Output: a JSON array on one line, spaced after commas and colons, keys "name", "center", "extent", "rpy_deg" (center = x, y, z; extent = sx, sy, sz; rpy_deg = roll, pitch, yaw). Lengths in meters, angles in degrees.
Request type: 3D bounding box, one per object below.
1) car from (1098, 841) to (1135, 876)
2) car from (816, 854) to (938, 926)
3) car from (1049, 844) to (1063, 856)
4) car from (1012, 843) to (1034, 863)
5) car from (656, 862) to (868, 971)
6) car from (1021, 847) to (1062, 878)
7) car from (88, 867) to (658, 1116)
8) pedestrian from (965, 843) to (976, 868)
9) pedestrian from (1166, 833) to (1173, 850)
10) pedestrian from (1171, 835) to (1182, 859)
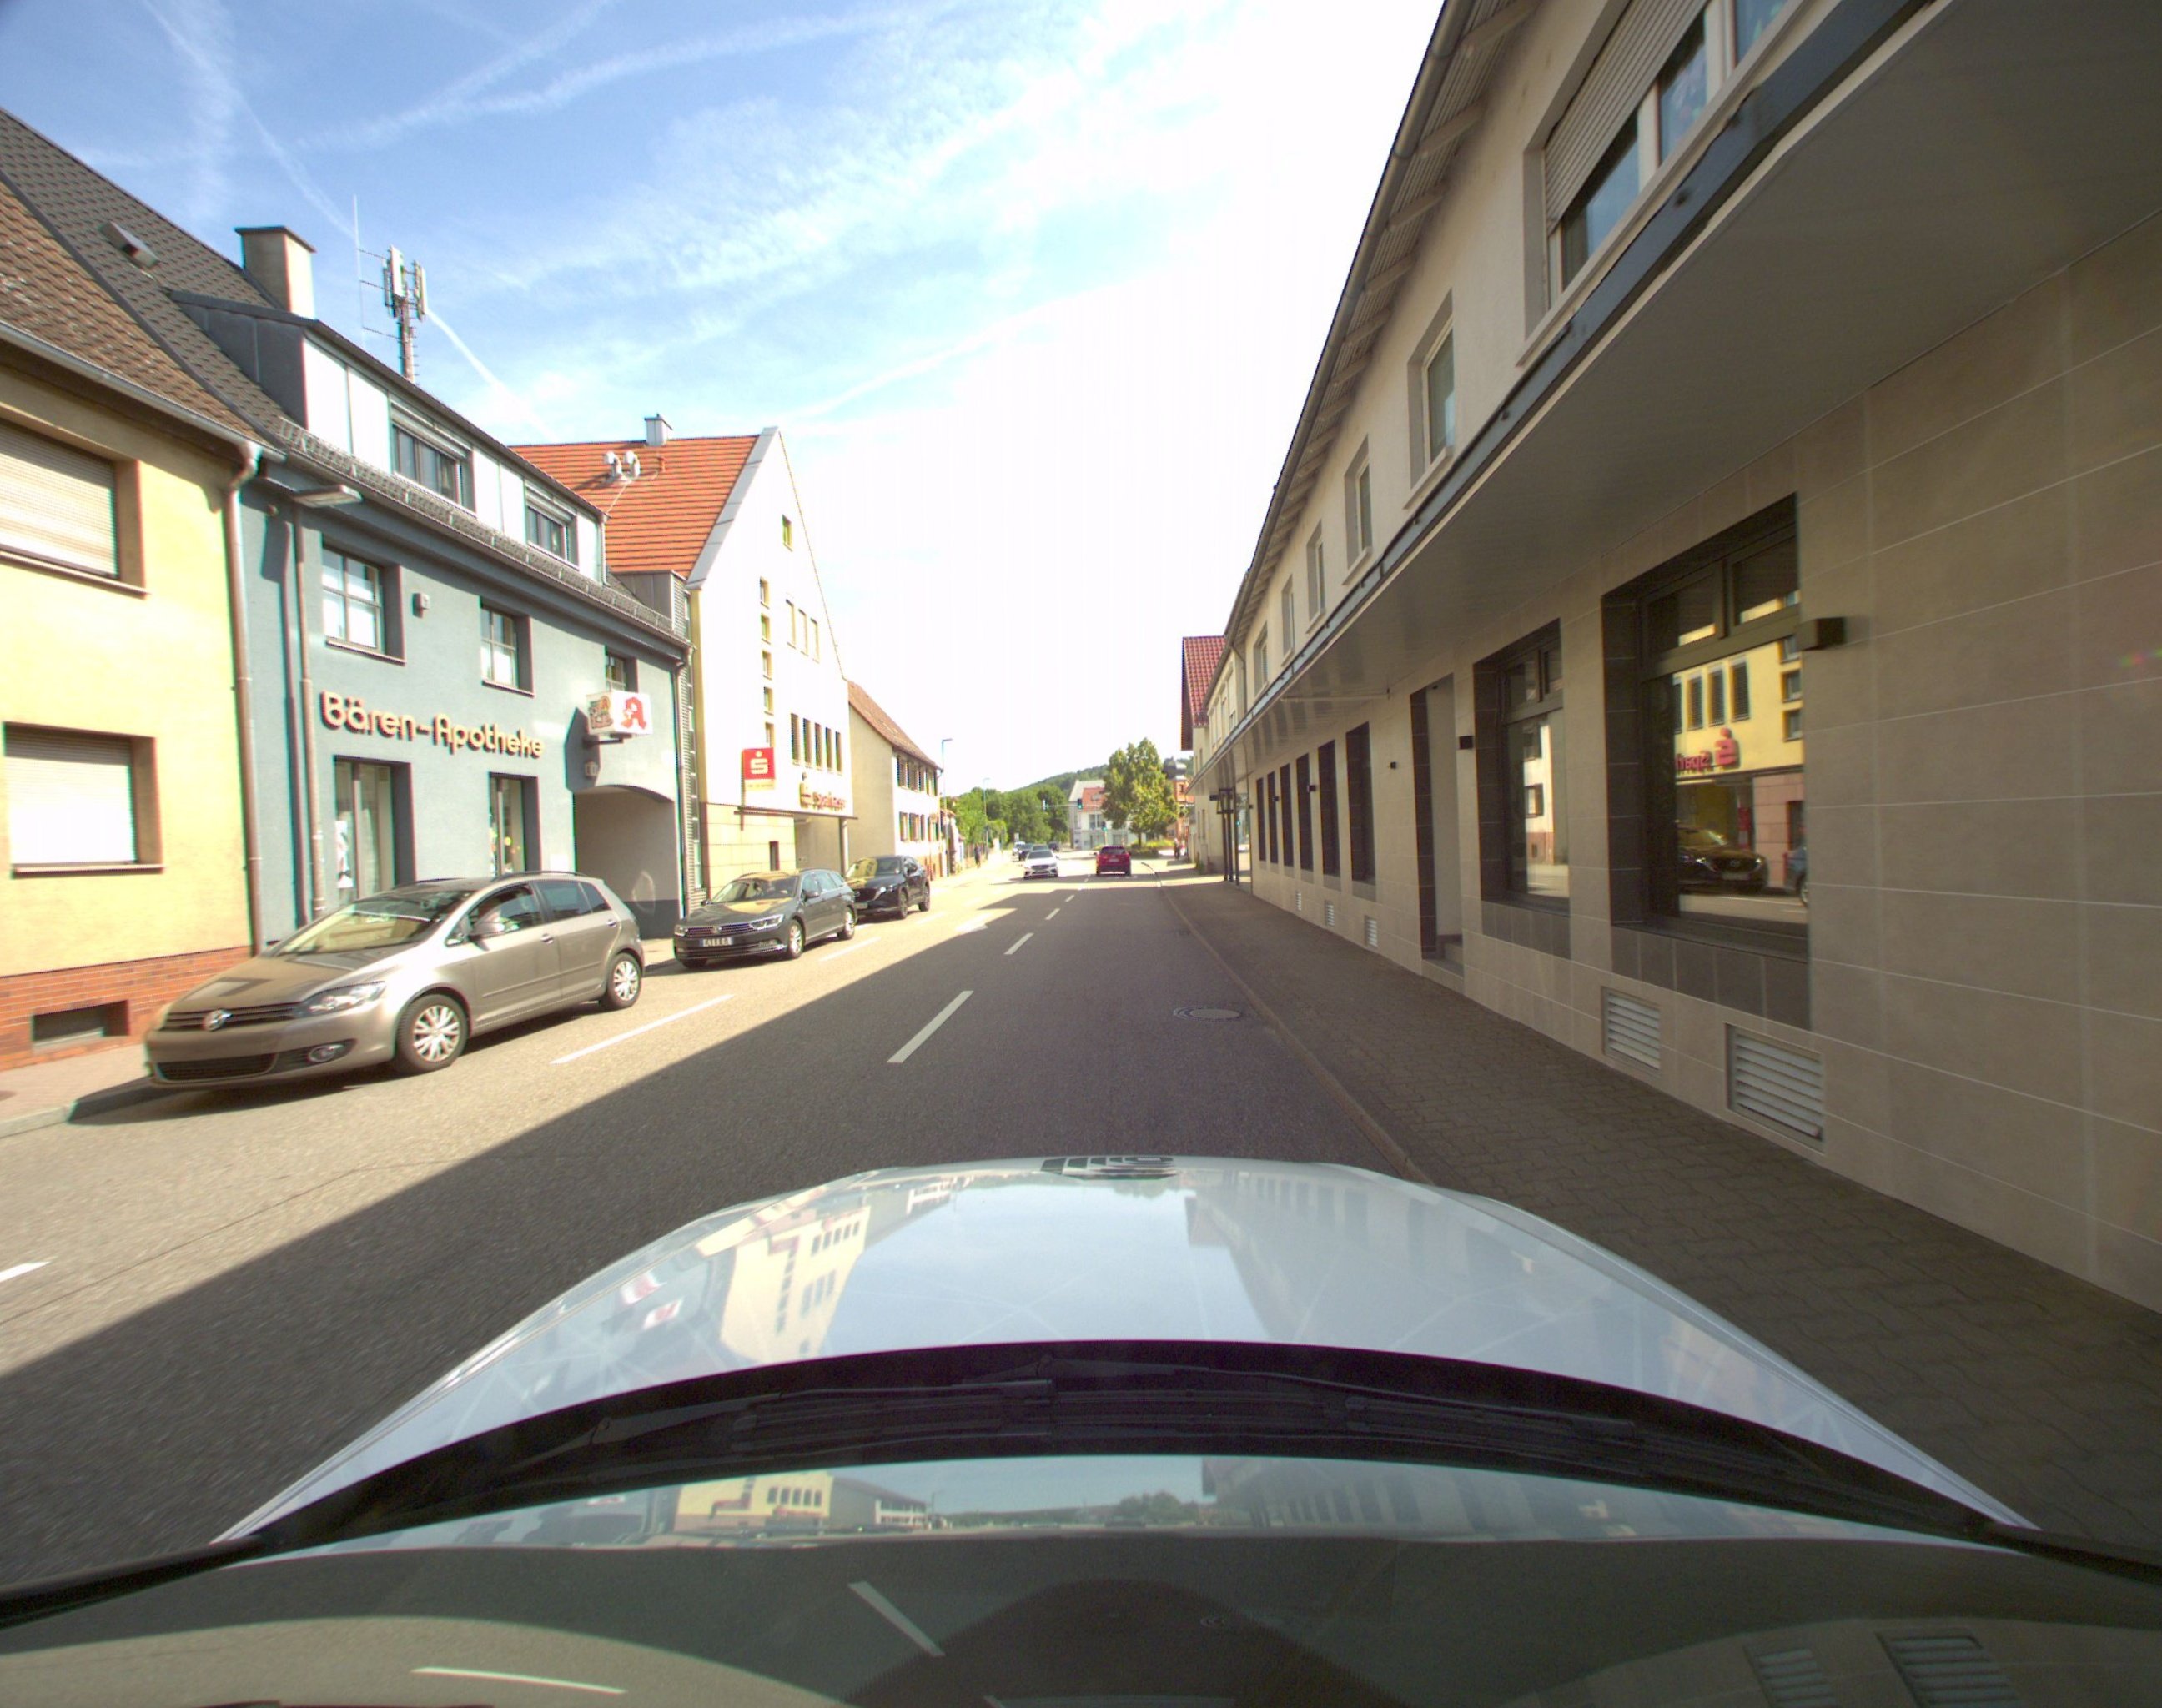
[{"name": "car", "center": [1.956, 0.202, 43.702], "extent": [1.850, 1.714, 4.427], "rpy_deg": [-2, 0, 4]}, {"name": "car", "center": [-5.283, 0.854, 21.740], "extent": [1.860, 1.589, 4.520], "rpy_deg": [-4, 0, 2]}, {"name": "car", "center": [-4.023, -0.603, 132.546], "extent": [1.924, 1.794, 3.959], "rpy_deg": [-3, -2, 3]}, {"name": "car", "center": [-5.842, -0.056, 81.853], "extent": [1.768, 1.784, 3.839], "rpy_deg": [-3, -2, 1]}, {"name": "car", "center": [-5.354, 0.963, 14.389], "extent": [1.782, 1.450, 4.426], "rpy_deg": [-4, 0, 2]}, {"name": "car", "center": [-2.123, 0.452, 43.765], "extent": [1.983, 1.444, 5.095], "rpy_deg": [-3, 0, -3]}, {"name": "car", "center": [-5.922, 0.983, 7.613], "extent": [1.623, 1.520, 4.021], "rpy_deg": [-4, 0, 2]}, {"name": "pedestrian", "center": [-8.539, 0.107, 62.868], "extent": [0.664, 1.824, 0.798], "rpy_deg": [-3, -2, -4]}, {"name": "pedestrian", "center": [10.044, -1.390, 92.584], "extent": [0.641, 1.879, 0.651], "rpy_deg": [-3, -2, -4]}, {"name": "pedestrian", "center": [7.127, -0.523, 60.712], "extent": [0.641, 1.707, 0.699], "rpy_deg": [-3, -2, -4]}]
